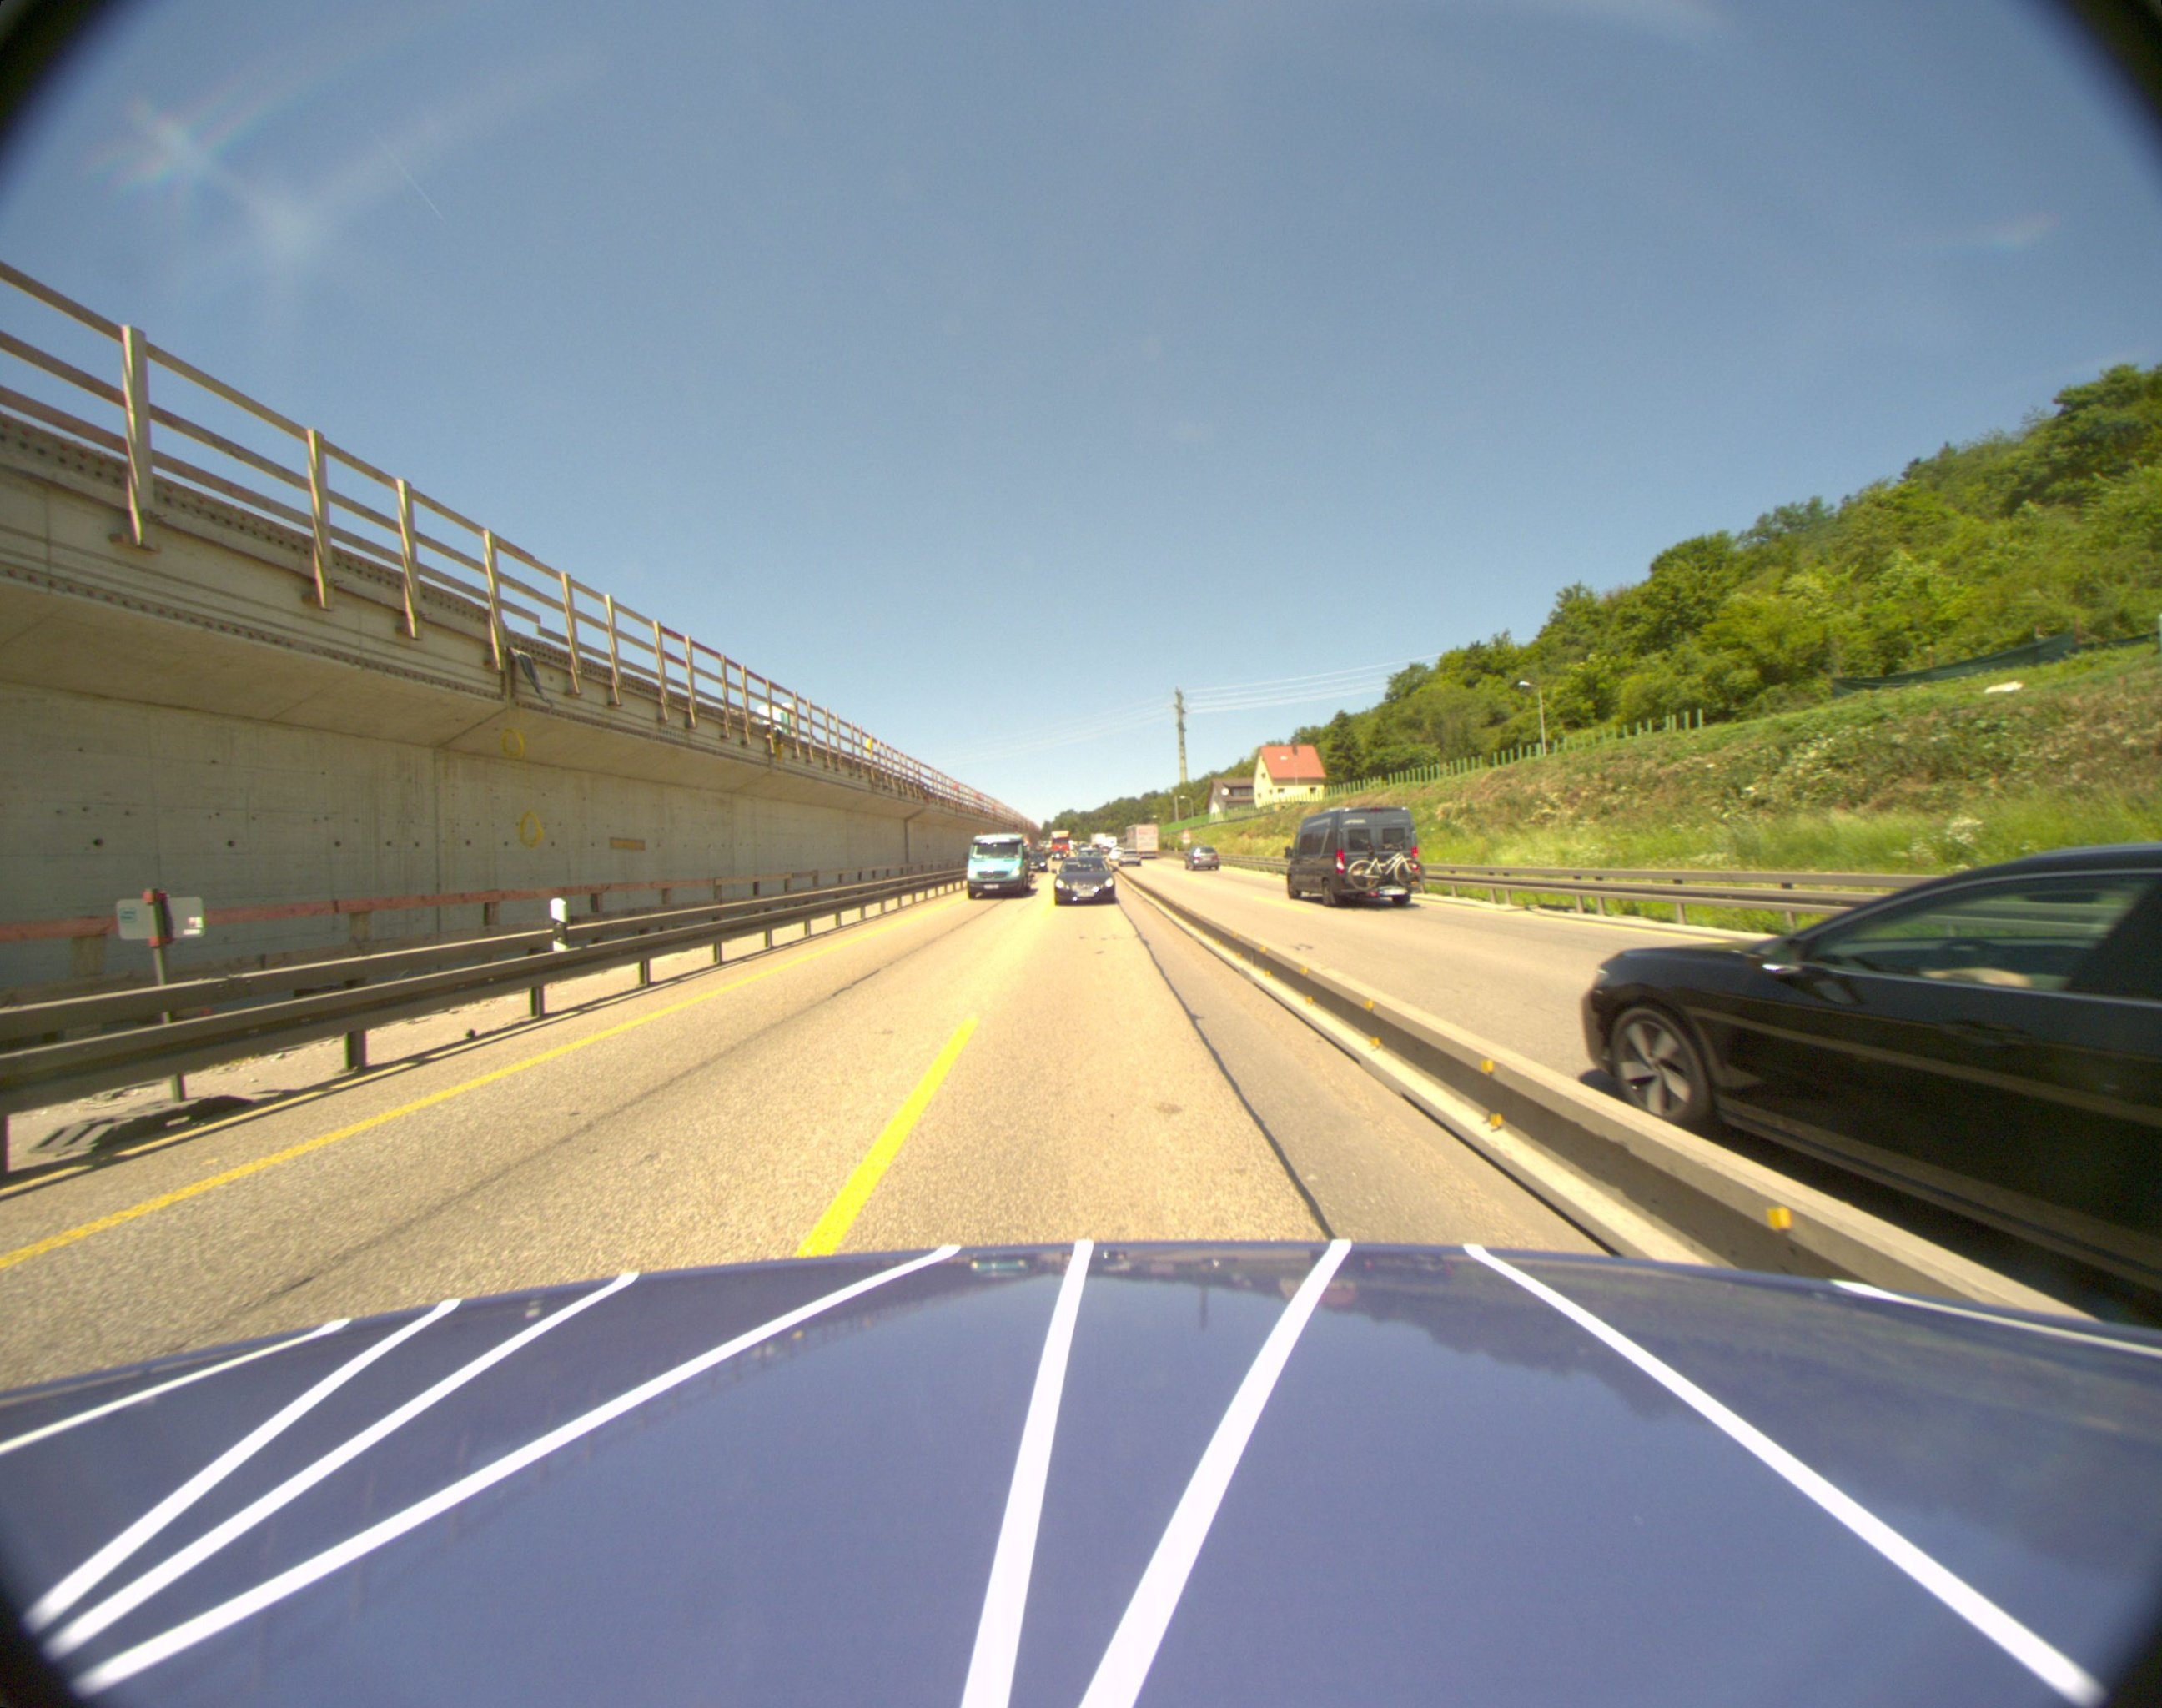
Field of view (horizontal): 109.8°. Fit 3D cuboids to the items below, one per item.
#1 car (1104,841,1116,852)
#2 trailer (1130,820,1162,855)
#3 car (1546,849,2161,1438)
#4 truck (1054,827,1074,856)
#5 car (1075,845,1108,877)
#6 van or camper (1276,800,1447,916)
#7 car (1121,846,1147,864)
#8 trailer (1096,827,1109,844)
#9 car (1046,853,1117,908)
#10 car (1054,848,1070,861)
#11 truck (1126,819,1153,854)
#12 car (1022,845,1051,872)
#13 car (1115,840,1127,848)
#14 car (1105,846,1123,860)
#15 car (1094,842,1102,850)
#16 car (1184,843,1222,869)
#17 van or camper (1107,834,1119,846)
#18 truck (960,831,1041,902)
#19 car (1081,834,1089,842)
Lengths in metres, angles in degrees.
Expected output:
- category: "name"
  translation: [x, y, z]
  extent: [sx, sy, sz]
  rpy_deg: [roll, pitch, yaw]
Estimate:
- category: "car"
  translation: [4.990, -1.337, 132.164]
  extent: [1.854, 1.879, 4.500]
  rpy_deg: [-2, 1, 0]
- category: "trailer"
  translation: [7.758, -1.959, 91.830]
  extent: [2.937, 3.966, 8.703]
  rpy_deg: [-2, 1, -1]
- category: "car"
  translation: [3.705, 0.751, 2.122]
  extent: [1.847, 1.467, 4.834]
  rpy_deg: [-2, 1, 0]
- category: "truck"
  translation: [-2.540, -1.936, 117.803]
  extent: [2.750, 4.222, 9.092]
  rpy_deg: [-2, 2, 0]
- category: "car"
  translation: [0.688, 0.370, 47.560]
  extent: [1.884, 1.805, 4.250]
  rpy_deg: [-2, 2, 2]
- category: "van or camper"
  translation: [7.221, 0.065, 20.540]
  extent: [2.145, 2.558, 6.563]
  rpy_deg: [-2, 1, 0]
- category: "car"
  translation: [4.498, 0.087, 65.125]
  extent: [1.834, 1.425, 4.628]
  rpy_deg: [-1, 1, 0]
- category: "trailer"
  translation: [5.907, -5.152, 211.713]
  extent: [3.111, 4.417, 14.624]
  rpy_deg: [-2, 2, 0]
- category: "car"
  translation: [0.058, 0.769, 24.021]
  extent: [1.998, 1.441, 4.601]
  rpy_deg: [-2, 1, 1]
- category: "car"
  translation: [-2.404, 0.024, 97.241]
  extent: [1.883, 1.533, 4.280]
  rpy_deg: [-2, 2, 0]
- category: "truck"
  translation: [7.720, -2.315, 101.323]
  extent: [2.627, 4.371, 10.383]
  rpy_deg: [-2, 1, 0]
- category: "car"
  translation: [-3.239, 0.282, 55.971]
  extent: [1.885, 1.805, 4.249]
  rpy_deg: [-2, 2, 0]
- category: "car"
  translation: [7.677, -1.949, 145.184]
  extent: [1.998, 1.499, 5.299]
  rpy_deg: [-2, 2, 1]
- category: "car"
  translation: [3.718, -0.140, 85.316]
  extent: [1.807, 1.455, 3.999]
  rpy_deg: [-2, 1, 0]
- category: "car"
  translation: [3.708, -1.742, 165.981]
  extent: [1.875, 1.674, 3.999]
  rpy_deg: [-1, 1, 1]
- category: "car"
  translation: [8.142, 0.127, 50.961]
  extent: [1.777, 1.573, 4.285]
  rpy_deg: [-3, 1, 0]
- category: "van or camper"
  translation: [7.284, -3.273, 172.005]
  extent: [2.356, 2.619, 6.900]
  rpy_deg: [-2, 2, 1]
- category: "truck"
  translation: [-2.920, 0.318, 29.488]
  extent: [2.139, 2.344, 7.431]
  rpy_deg: [-2, 2, 1]
- category: "car"
  translation: [1.126, -4.566, 218.654]
  extent: [1.999, 2.002, 4.164]
  rpy_deg: [-2, 1, -1]
